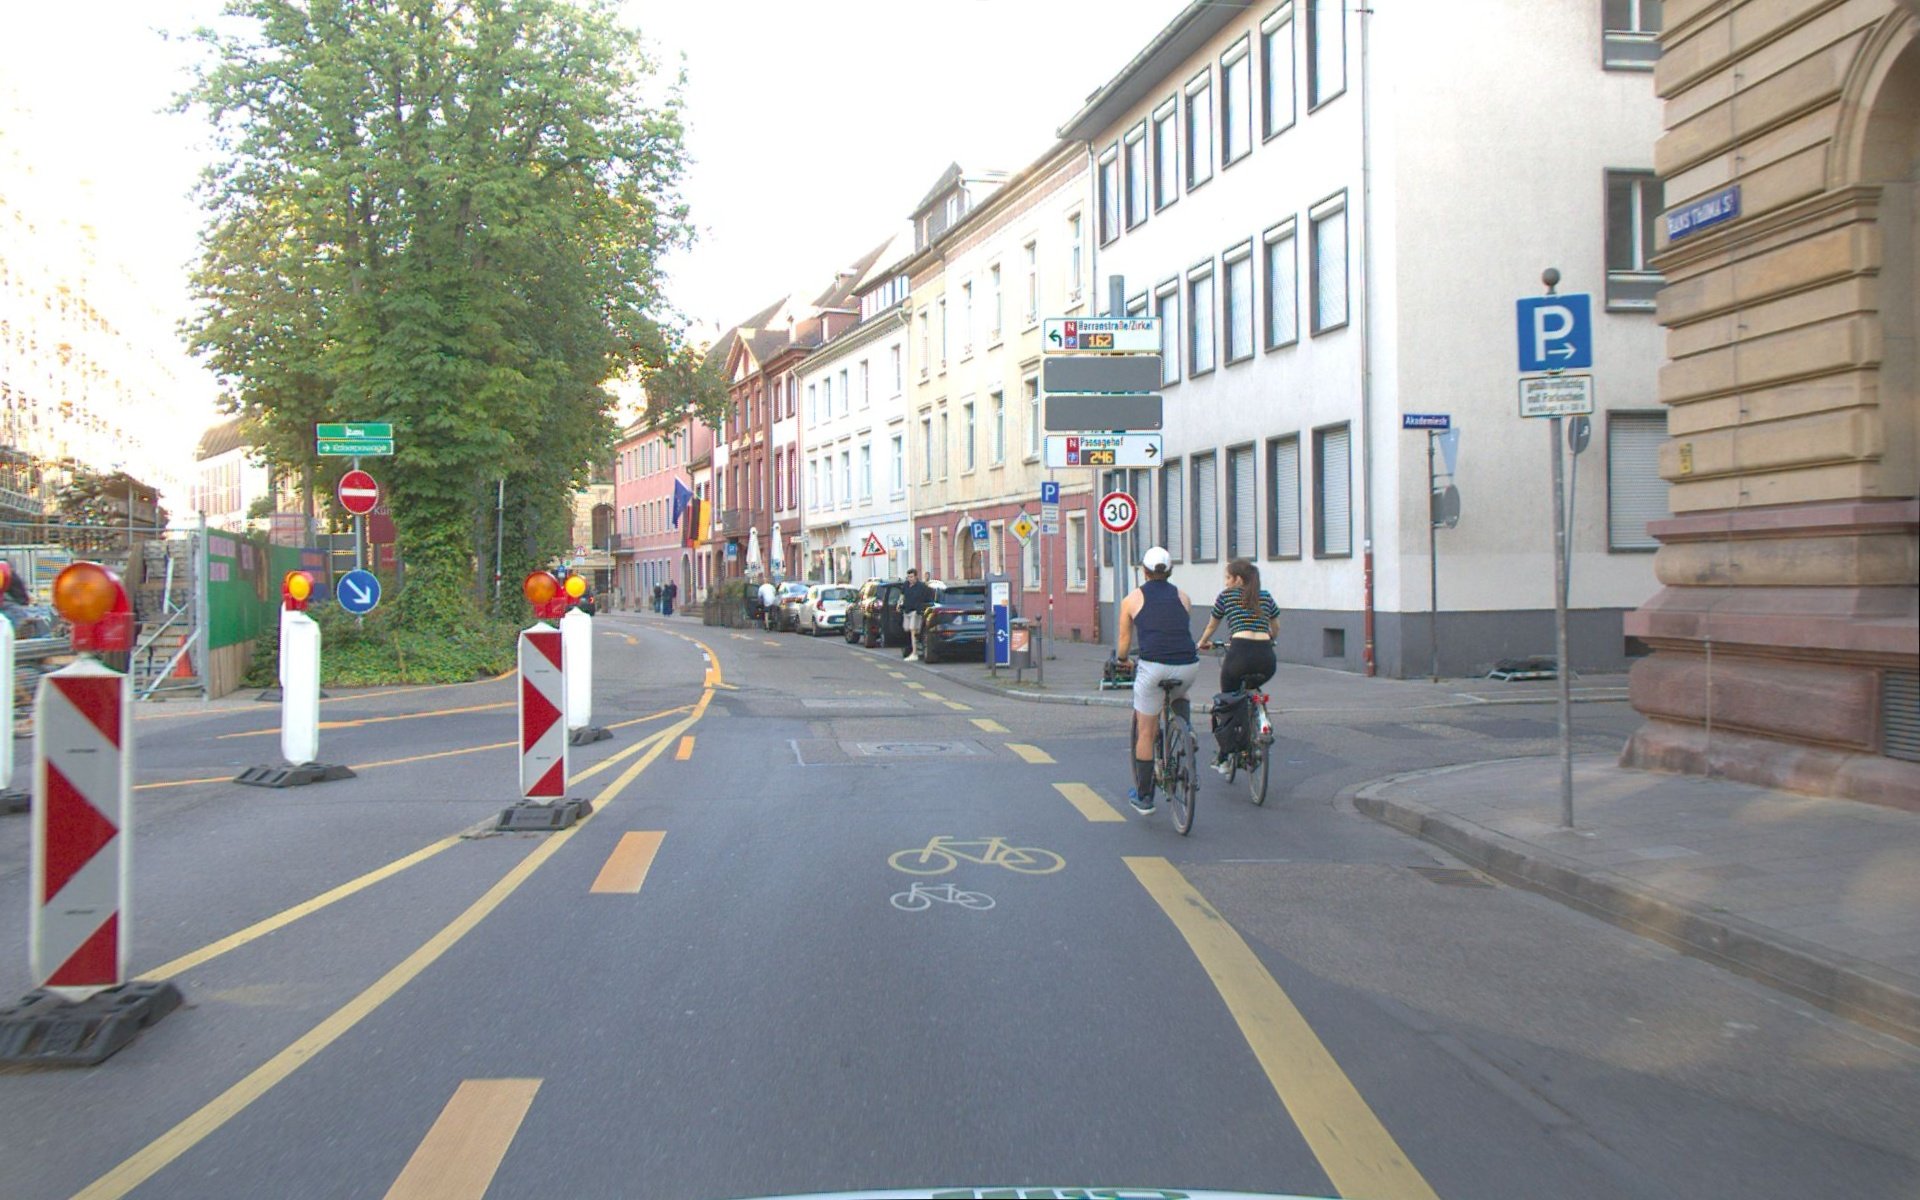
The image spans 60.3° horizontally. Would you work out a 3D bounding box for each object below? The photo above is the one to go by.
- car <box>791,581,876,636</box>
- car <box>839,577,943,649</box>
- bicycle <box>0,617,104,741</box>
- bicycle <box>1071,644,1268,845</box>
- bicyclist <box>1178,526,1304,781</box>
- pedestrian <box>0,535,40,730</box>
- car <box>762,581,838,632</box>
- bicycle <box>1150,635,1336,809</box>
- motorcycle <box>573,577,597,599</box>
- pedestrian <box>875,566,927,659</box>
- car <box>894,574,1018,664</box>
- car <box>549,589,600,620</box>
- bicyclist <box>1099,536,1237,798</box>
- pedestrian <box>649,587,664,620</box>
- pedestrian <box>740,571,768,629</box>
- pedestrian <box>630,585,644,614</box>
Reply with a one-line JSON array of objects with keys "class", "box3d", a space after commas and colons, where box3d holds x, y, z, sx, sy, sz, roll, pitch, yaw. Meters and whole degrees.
[{"class": "car", "box3d": [-3.837, 0.227, 49.761, 1.783, 1.587, 3.847, -1, 1, -17]}, {"class": "car", "box3d": [-1.805, 0.289, 41.790, 1.782, 1.713, 3.984, -1, 1, -15]}, {"class": "bicycle", "box3d": [-8.722, 0.706, 14.544, 0.745, 1.055, 2.120, 0, 1, 24]}, {"class": "bicycle", "box3d": [1.285, 0.860, 10.536, 0.658, 1.089, 1.895, 1, 0, -12]}, {"class": "bicyclist", "box3d": [2.043, 0.373, 12.109, 0.637, 1.790, 0.862, 1, 1, -9]}, {"class": "pedestrian", "box3d": [-8.744, 0.289, 14.518, 0.720, 1.703, 0.895, 0, 1, 24]}, {"class": "car", "box3d": [-5.270, 0.188, 54.059, 1.783, 1.587, 3.847, -1, 1, -17]}, {"class": "bicycle", "box3d": [2.028, 0.844, 12.188, 0.641, 1.089, 2.253, 1, 0, -9]}, {"class": "motorcycle", "box3d": [-21.894, -0.703, 96.612, 1.026, 1.270, 2.383, -1, 1, -21]}, {"class": "pedestrian", "box3d": [-1.226, 0.248, 34.470, 0.885, 1.898, 0.928, -1, 0, -15]}, {"class": "car", "box3d": [-0.149, 0.341, 33.987, 1.780, 1.712, 3.908, -1, 1, -12]}, {"class": "car", "box3d": [-20.208, 0.202, 86.616, 1.791, 1.587, 3.831, -1, 1, -27]}, {"class": "bicyclist", "box3d": [1.308, 0.412, 10.486, 0.657, 1.593, 0.696, 1, 0, -12]}, {"class": "pedestrian", "box3d": [-16.445, 0.176, 89.677, 0.738, 1.793, 0.582, -1, 0, -19]}, {"class": "pedestrian", "box3d": [-6.764, -0.005, 54.305, 0.814, 1.876, 0.958, 0, 1, -1]}, {"class": "pedestrian", "box3d": [-17.706, -0.025, 90.737, 0.657, 1.609, 0.582, -1, 0, -19]}]
